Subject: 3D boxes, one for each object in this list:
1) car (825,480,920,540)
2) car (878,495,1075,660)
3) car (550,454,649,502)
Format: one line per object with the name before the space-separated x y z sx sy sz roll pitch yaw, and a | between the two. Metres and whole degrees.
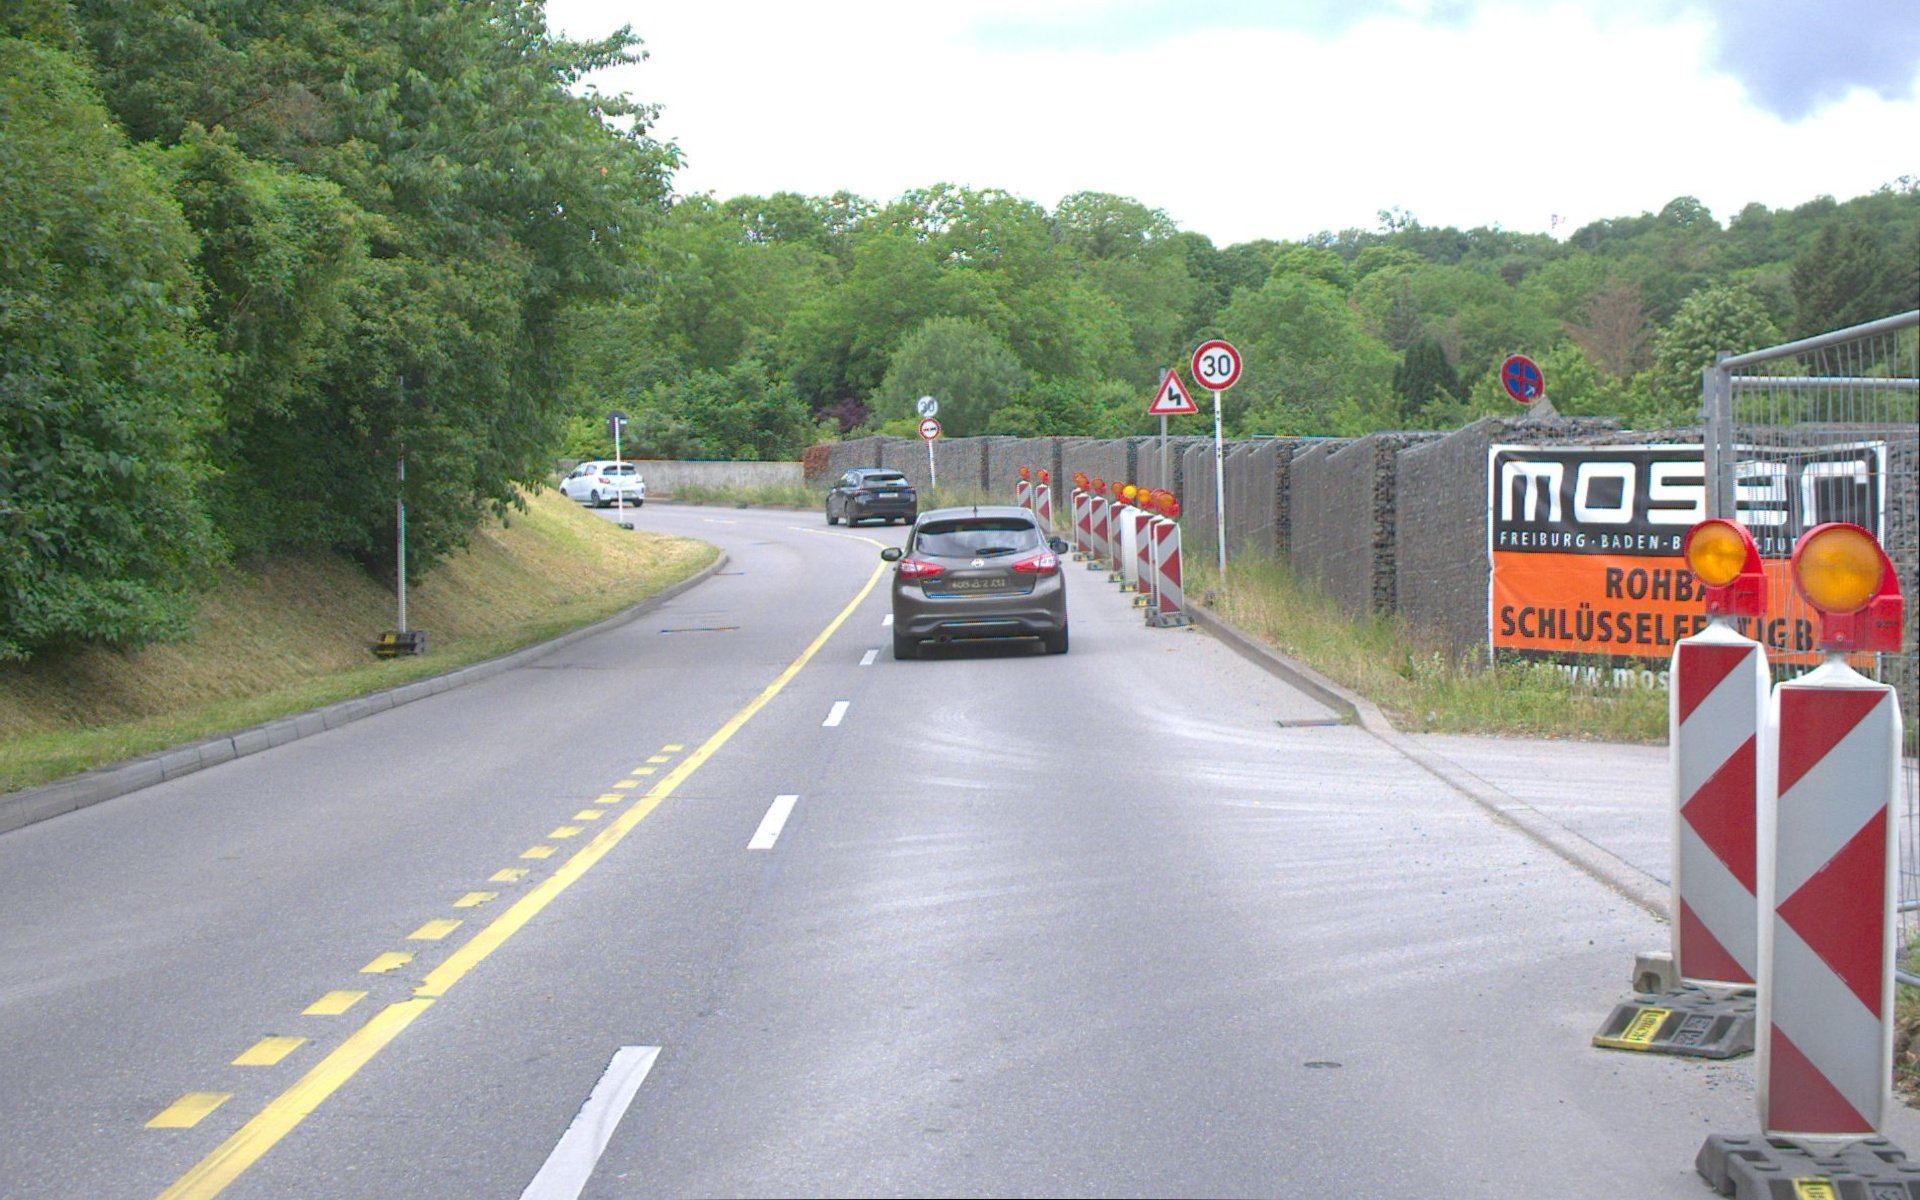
car | -2.291 -2.304 88.658 1.779 1.448 3.859 1 0 -11
car | 0.120 -0.281 35.910 1.839 1.478 4.001 -3 3 -2
car | -11.701 -3.969 111.464 1.832 1.434 3.920 -2 4 -28
